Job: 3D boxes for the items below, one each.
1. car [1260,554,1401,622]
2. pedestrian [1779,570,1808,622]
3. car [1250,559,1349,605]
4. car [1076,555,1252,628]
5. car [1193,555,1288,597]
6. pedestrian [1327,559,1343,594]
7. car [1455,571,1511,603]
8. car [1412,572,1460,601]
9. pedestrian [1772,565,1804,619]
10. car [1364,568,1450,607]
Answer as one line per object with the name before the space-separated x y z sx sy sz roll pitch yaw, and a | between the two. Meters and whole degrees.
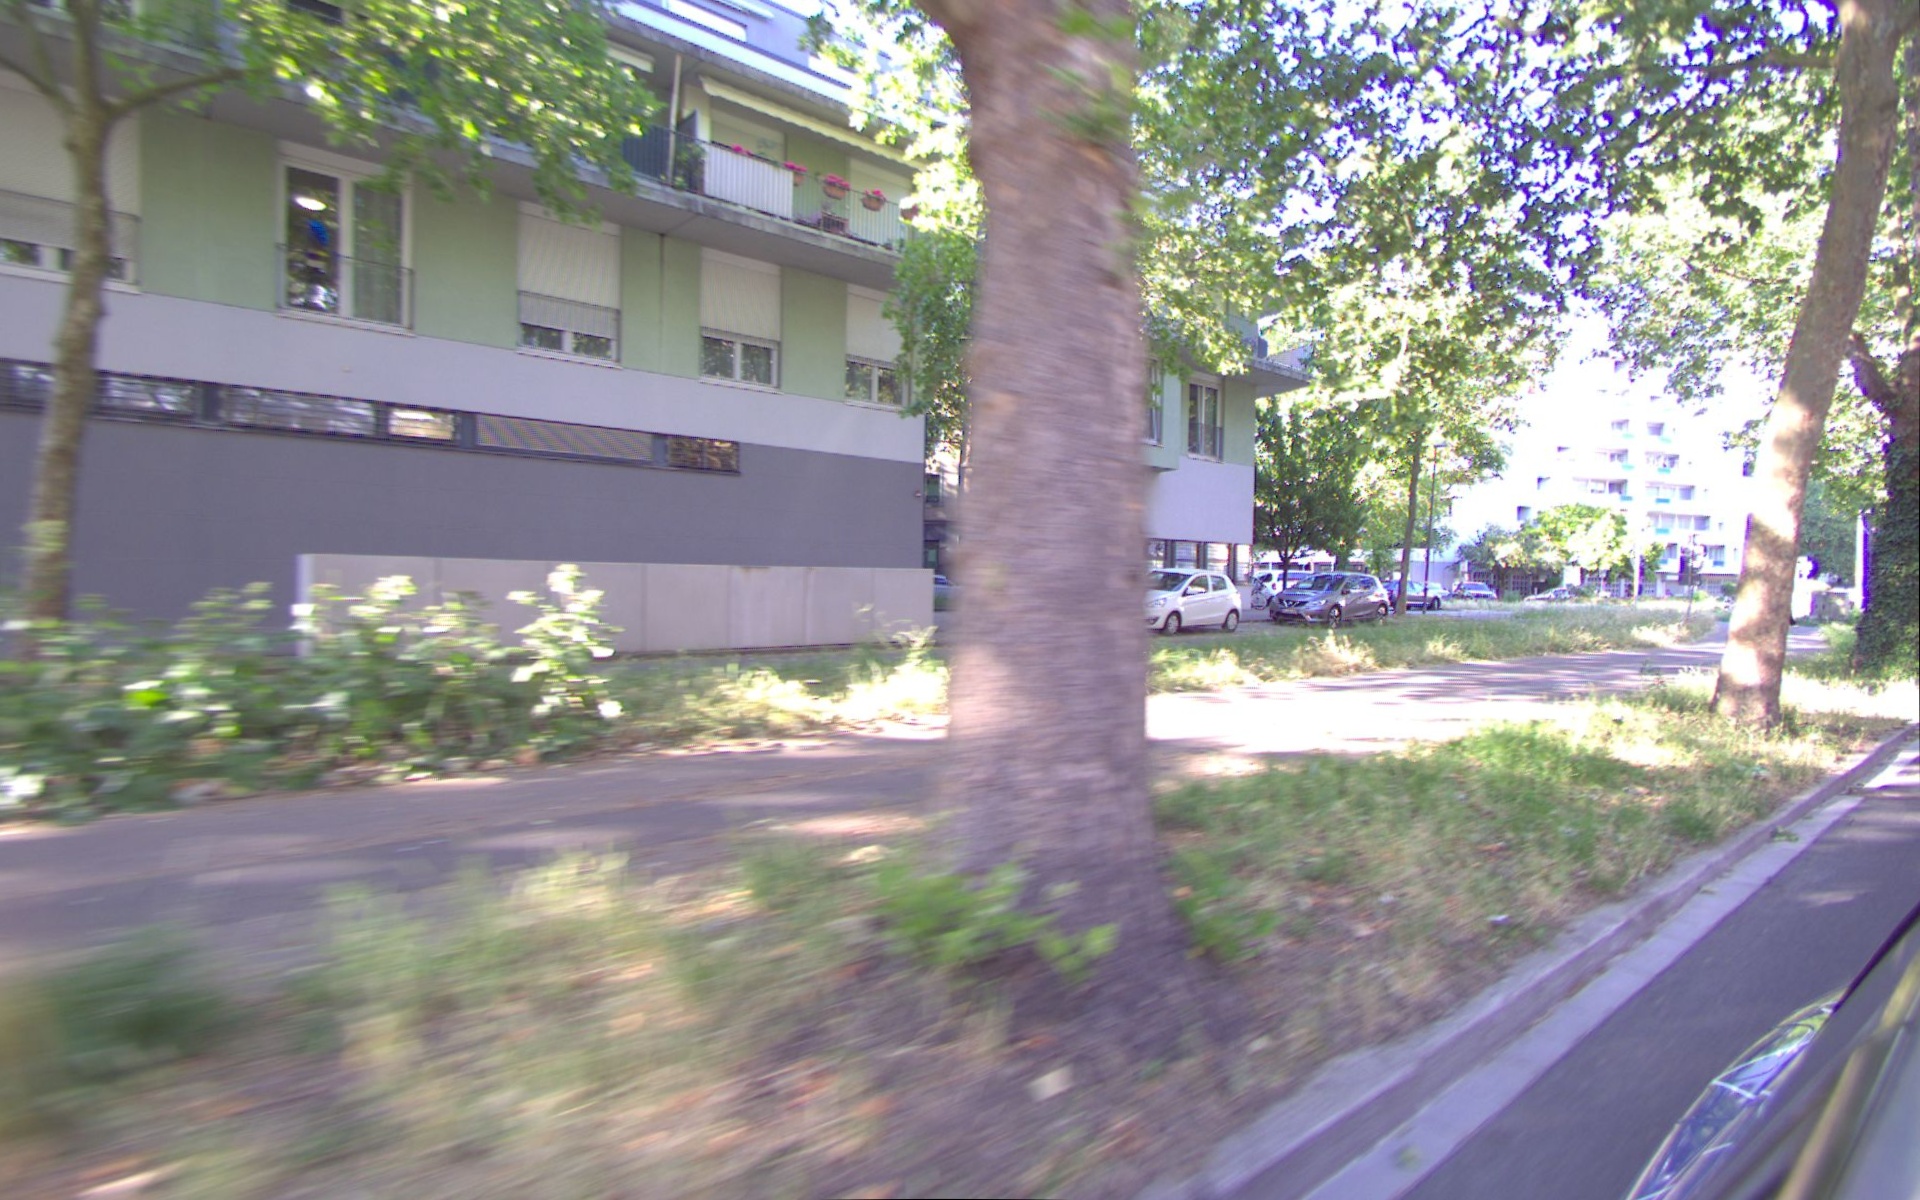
car | 10.492 -0.358 28.541 4.244 1.793 1.908 0 2 -41
pedestrian | 31.322 -0.155 38.047 0.781 1.903 0.792 2 1 39
car | 18.456 -0.954 55.022 4.946 2.123 2.005 4 0 -24
car | 4.872 -0.218 23.910 4.244 1.562 1.862 0 2 -41
car | 11.756 -1.008 42.377 3.483 1.473 1.679 4 0 -24
pedestrian | 18.928 -1.181 51.118 0.521 1.773 0.561 -1 2 -29
car | 31.685 -0.771 61.415 1.910 1.680 4.457 4 0 14
car | 29.686 -0.836 63.246 1.802 1.607 4.349 4 0 14
pedestrian | 30.507 -0.295 37.288 0.834 1.956 0.771 2 1 38
car | 21.183 -0.594 47.926 3.906 1.542 1.678 4 0 -30
